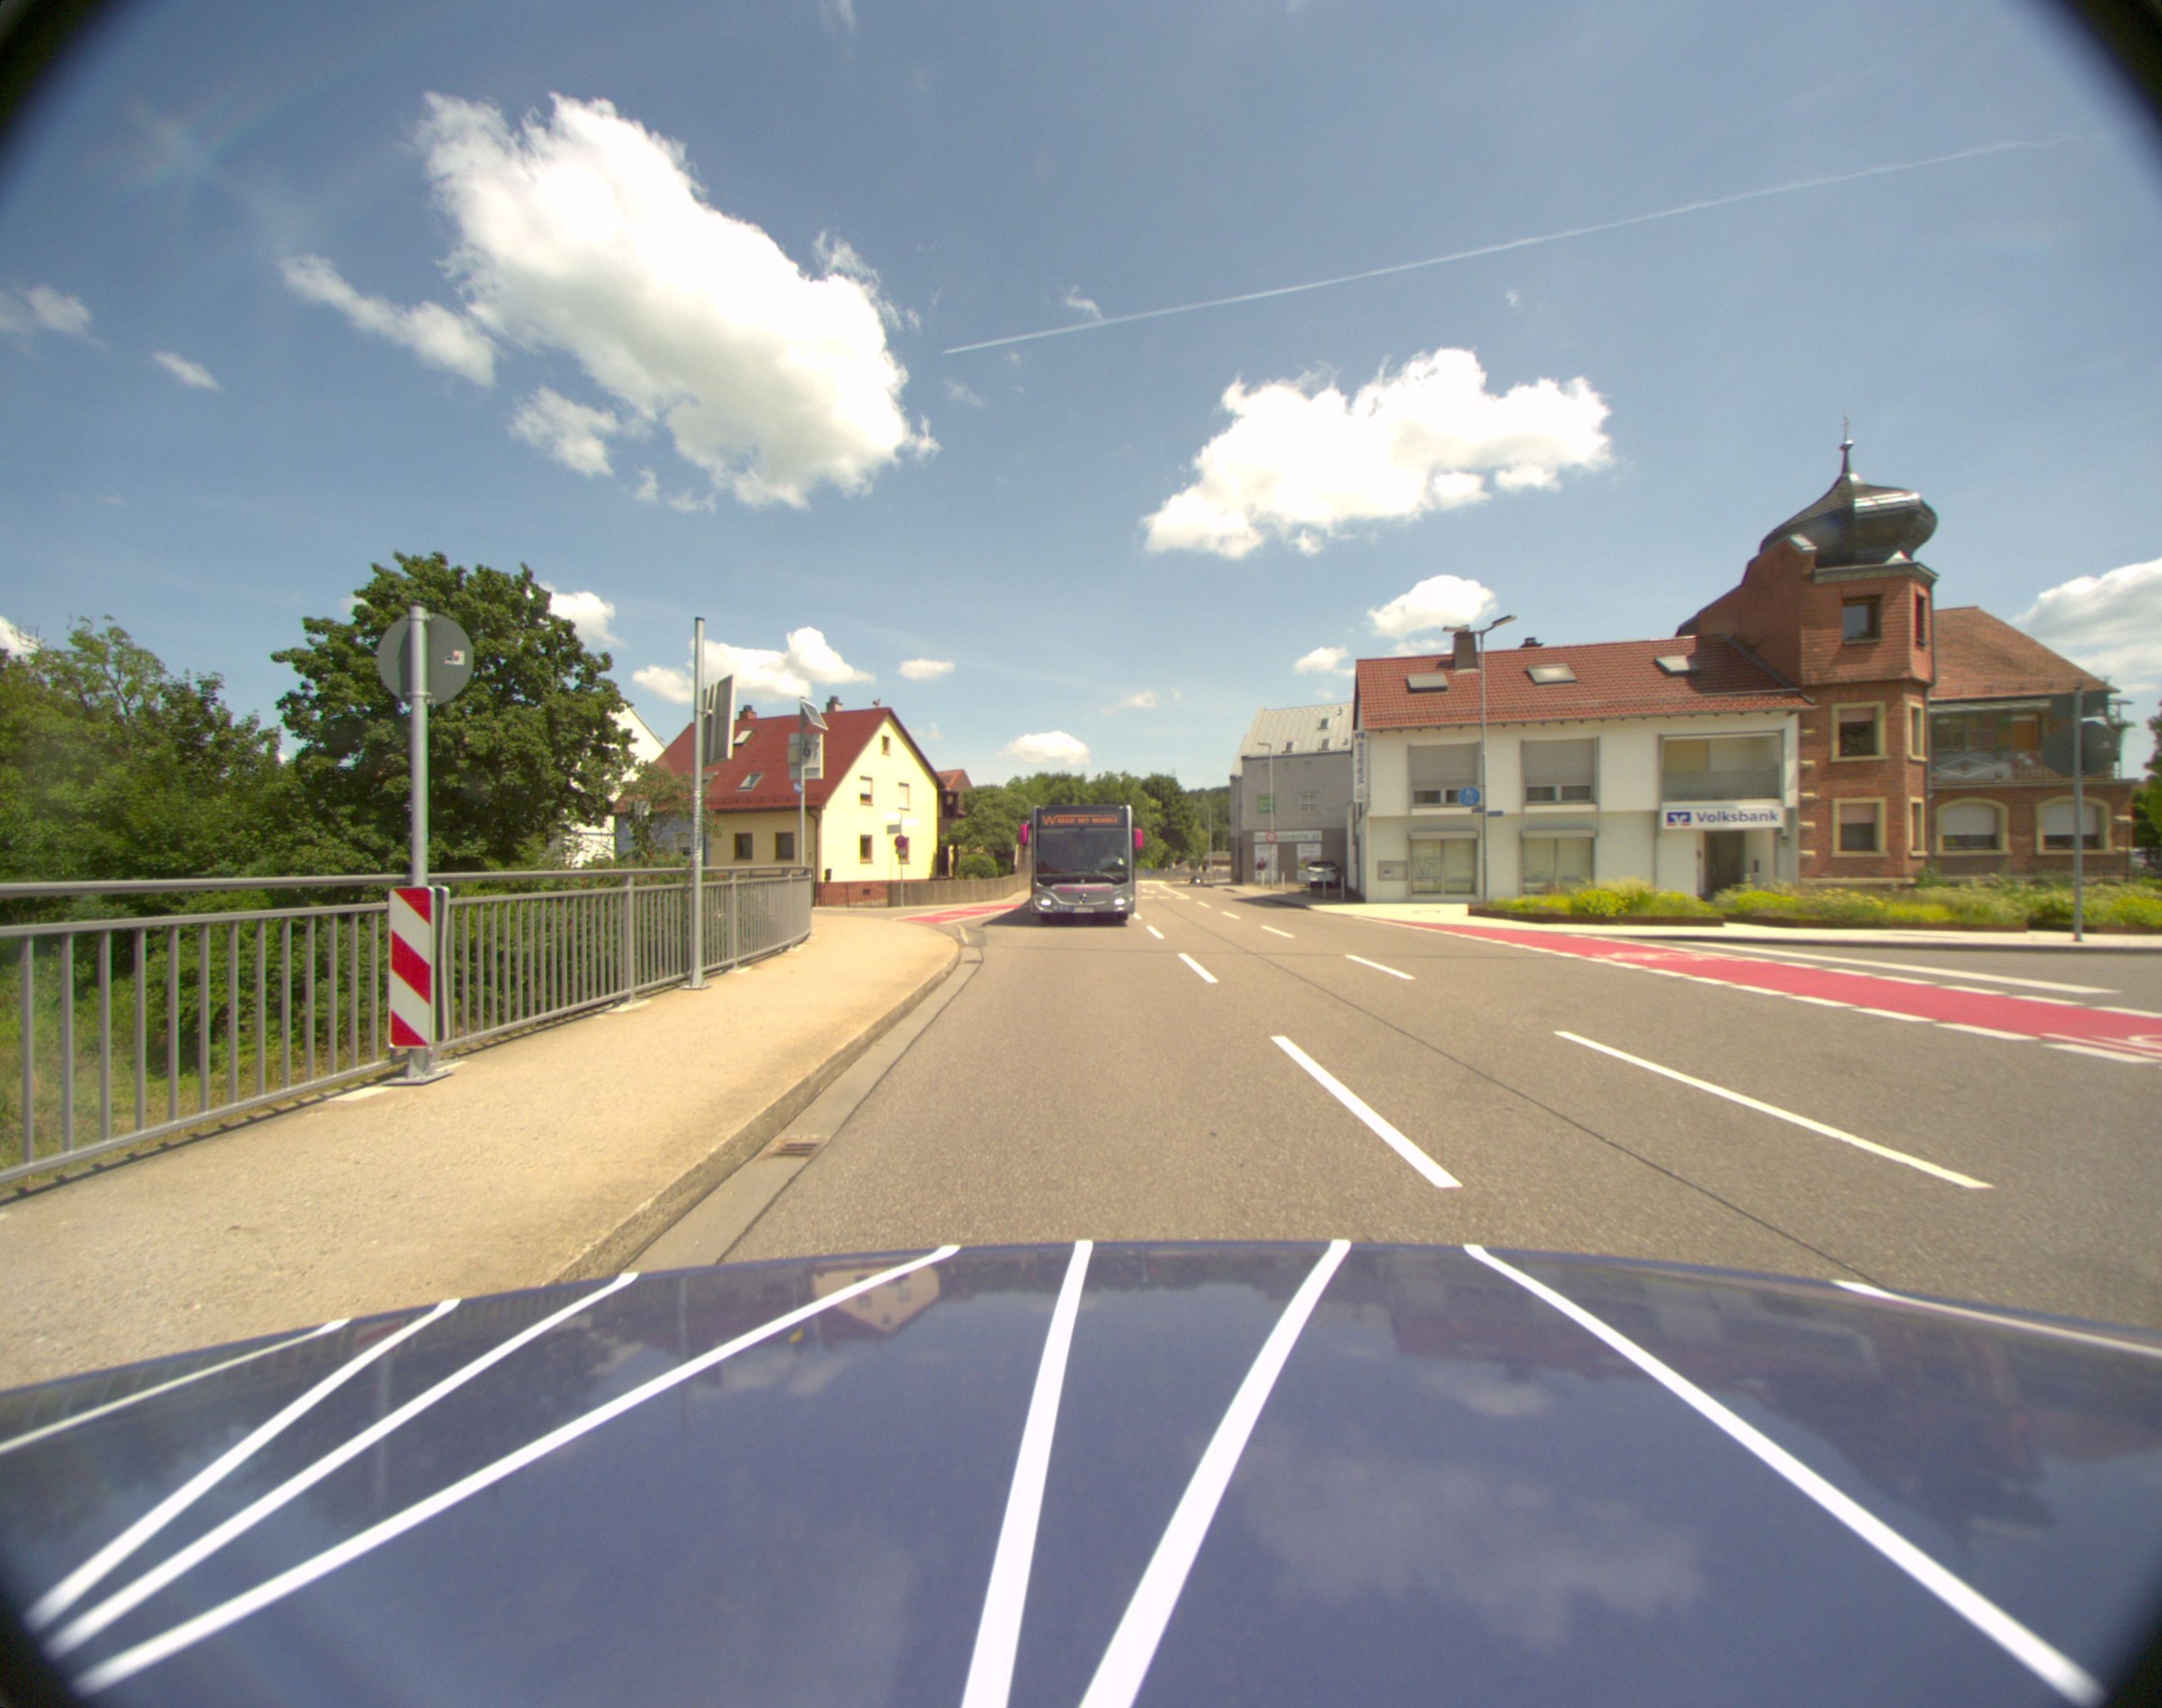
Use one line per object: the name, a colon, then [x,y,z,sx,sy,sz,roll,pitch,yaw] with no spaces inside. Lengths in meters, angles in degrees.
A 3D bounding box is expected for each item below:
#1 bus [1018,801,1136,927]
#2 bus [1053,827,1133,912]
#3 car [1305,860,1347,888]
bus: [0.178,0.409,22.601,2.755,2.949,9.286,1,-2,3]
bus: [0.634,0.702,31.415,2.755,2.949,9.286,1,-2,3]
car: [14.640,1.184,45.342,1.995,1.565,4.261,0,-1,23]
